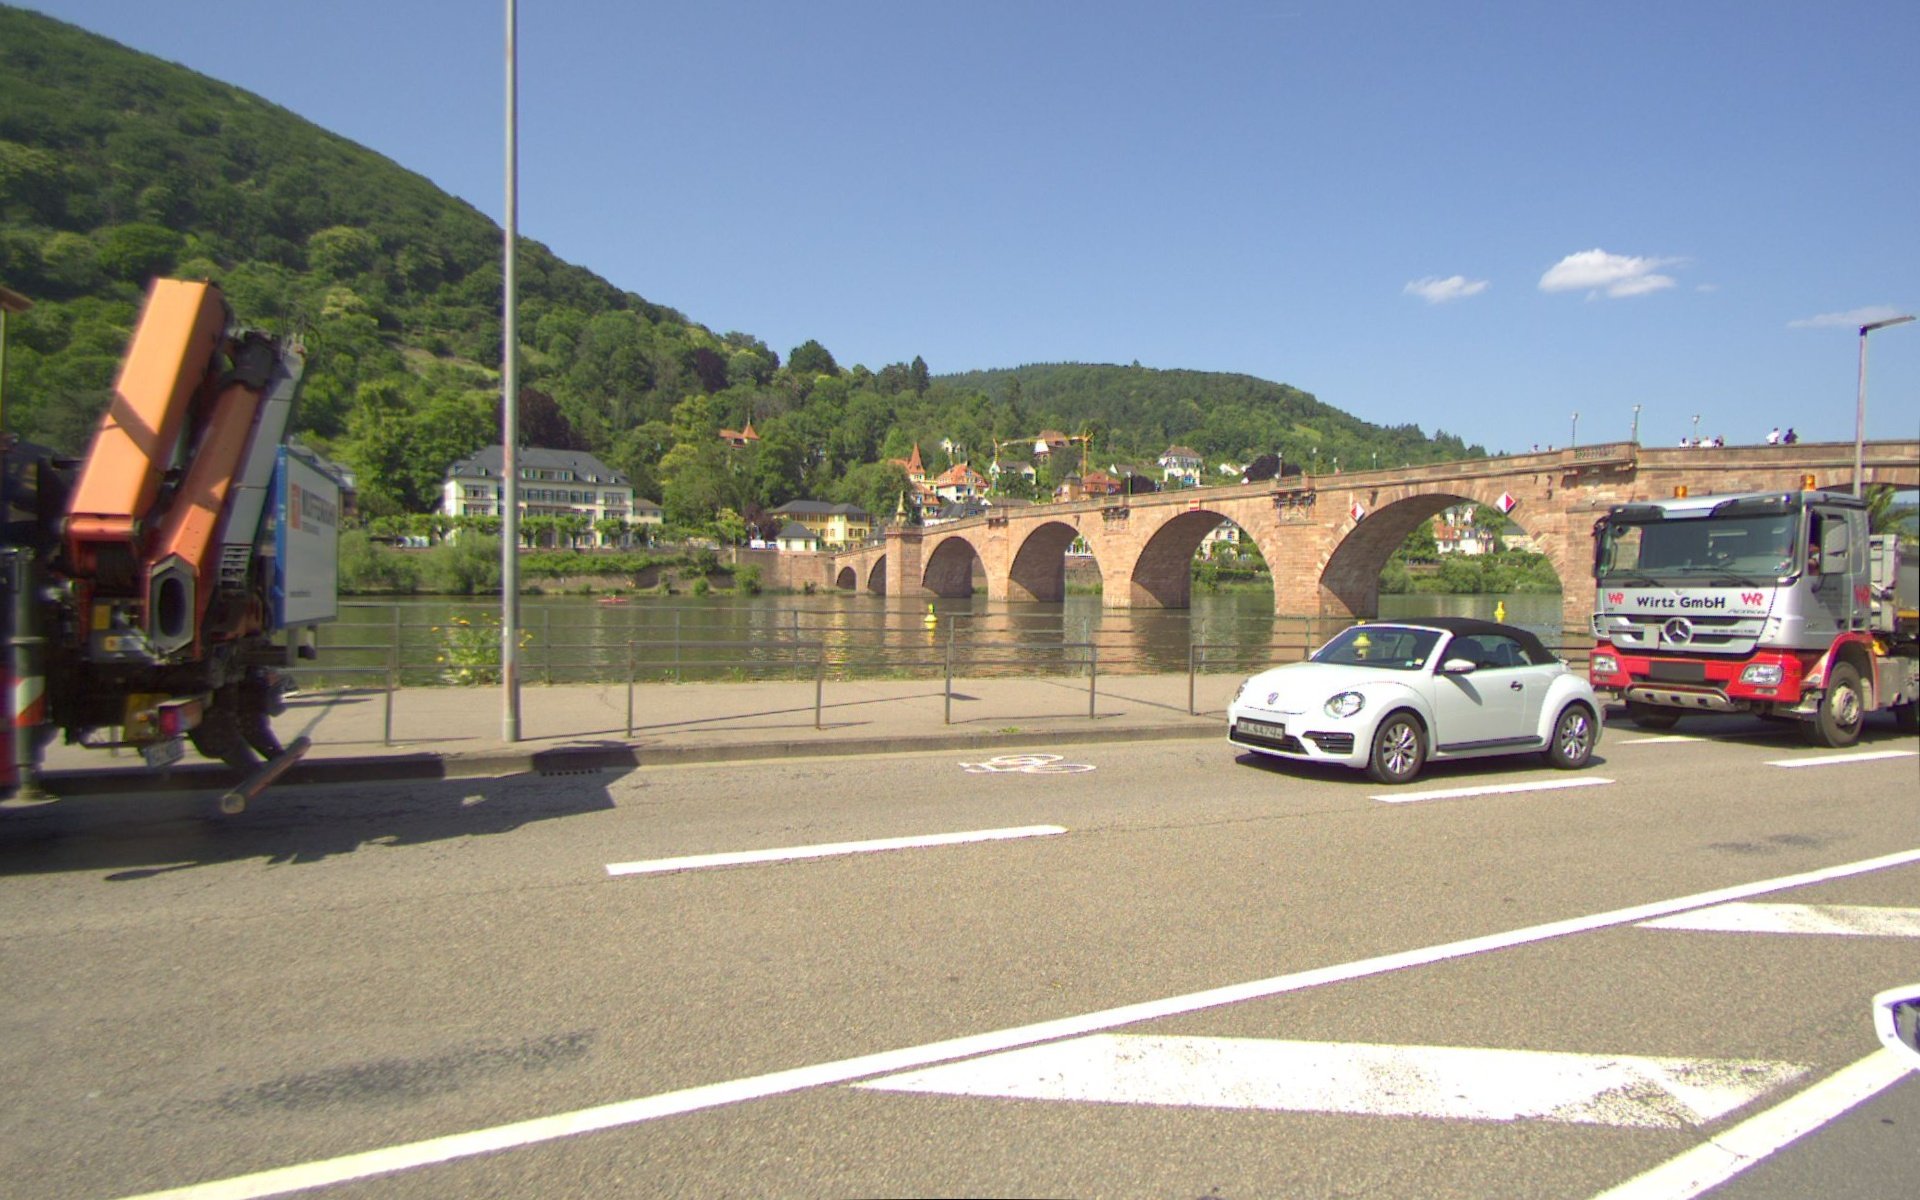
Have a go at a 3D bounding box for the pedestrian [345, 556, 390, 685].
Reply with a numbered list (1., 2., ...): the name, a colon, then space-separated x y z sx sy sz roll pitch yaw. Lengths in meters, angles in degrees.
1. pedestrian: -7.430 0.243 12.602 0.408 1.578 0.586 1 3 -23

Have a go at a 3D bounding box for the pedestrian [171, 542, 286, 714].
1. pedestrian: -7.664 0.275 10.567 0.833 1.730 0.710 1 3 -24

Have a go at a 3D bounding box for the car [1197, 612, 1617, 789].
1. car: 4.539 0.906 10.168 3.944 1.463 1.772 1 0 -26

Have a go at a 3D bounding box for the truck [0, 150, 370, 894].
1. truck: -8.967 -0.432 4.166 10.954 3.523 2.634 1 0 -25

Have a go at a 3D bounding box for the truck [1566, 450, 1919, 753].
1. truck: 12.483 0.119 14.517 7.767 3.502 2.633 1 -1 -26

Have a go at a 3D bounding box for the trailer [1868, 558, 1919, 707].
1. trailer: 19.795 0.634 18.163 6.856 2.564 2.689 2 -1 -26

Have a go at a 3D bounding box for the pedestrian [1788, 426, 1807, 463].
1. pedestrian: 49.338 -9.132 59.158 0.619 2.040 0.689 1 0 -32
